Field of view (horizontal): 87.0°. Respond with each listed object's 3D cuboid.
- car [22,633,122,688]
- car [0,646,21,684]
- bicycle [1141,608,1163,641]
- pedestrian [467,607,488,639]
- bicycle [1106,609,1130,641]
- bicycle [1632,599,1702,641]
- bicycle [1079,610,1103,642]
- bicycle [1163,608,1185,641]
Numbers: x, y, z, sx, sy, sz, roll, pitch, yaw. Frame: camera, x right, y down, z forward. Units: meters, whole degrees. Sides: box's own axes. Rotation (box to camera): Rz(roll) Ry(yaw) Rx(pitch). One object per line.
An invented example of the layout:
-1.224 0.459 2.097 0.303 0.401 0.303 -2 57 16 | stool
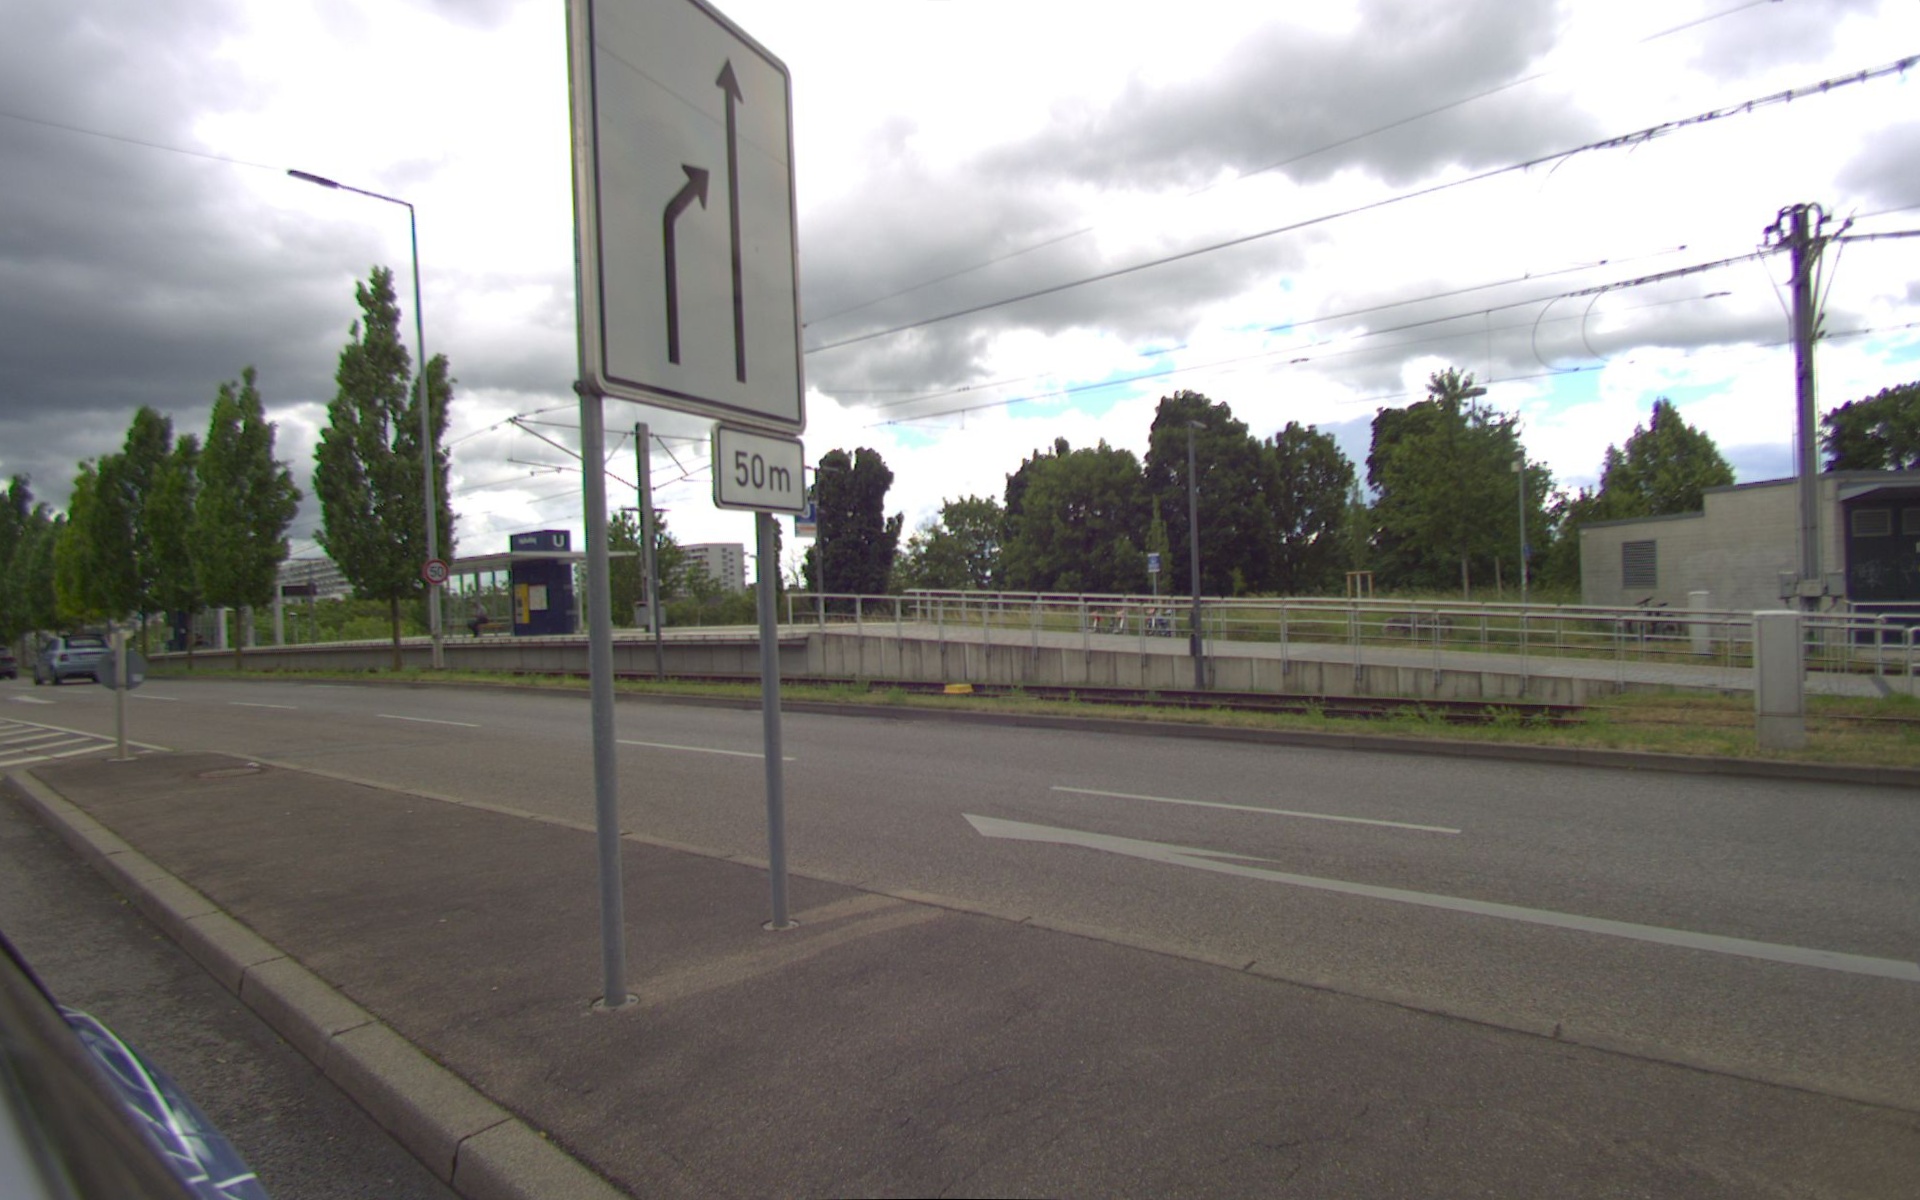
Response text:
-27.964 1.865 31.854 3.596 1.540 1.740 -1 0 38 | car
-40.777 2.685 41.992 4.424 1.435 1.854 -1 0 36 | car
6.447 0.818 33.987 0.531 1.039 1.804 -1 0 16 | bicycle
-18.114 0.859 37.977 0.447 1.163 0.593 -1 0 41 | pedestrian
5.391 0.846 34.440 0.531 1.039 1.804 -1 0 16 | bicycle
18.201 0.499 26.099 0.529 1.039 1.813 -1 0 1 | bicycle
4.510 0.880 34.850 0.531 1.039 1.804 -1 0 16 | bicycle
7.129 0.798 33.692 0.531 1.039 1.804 -1 0 16 | bicycle
